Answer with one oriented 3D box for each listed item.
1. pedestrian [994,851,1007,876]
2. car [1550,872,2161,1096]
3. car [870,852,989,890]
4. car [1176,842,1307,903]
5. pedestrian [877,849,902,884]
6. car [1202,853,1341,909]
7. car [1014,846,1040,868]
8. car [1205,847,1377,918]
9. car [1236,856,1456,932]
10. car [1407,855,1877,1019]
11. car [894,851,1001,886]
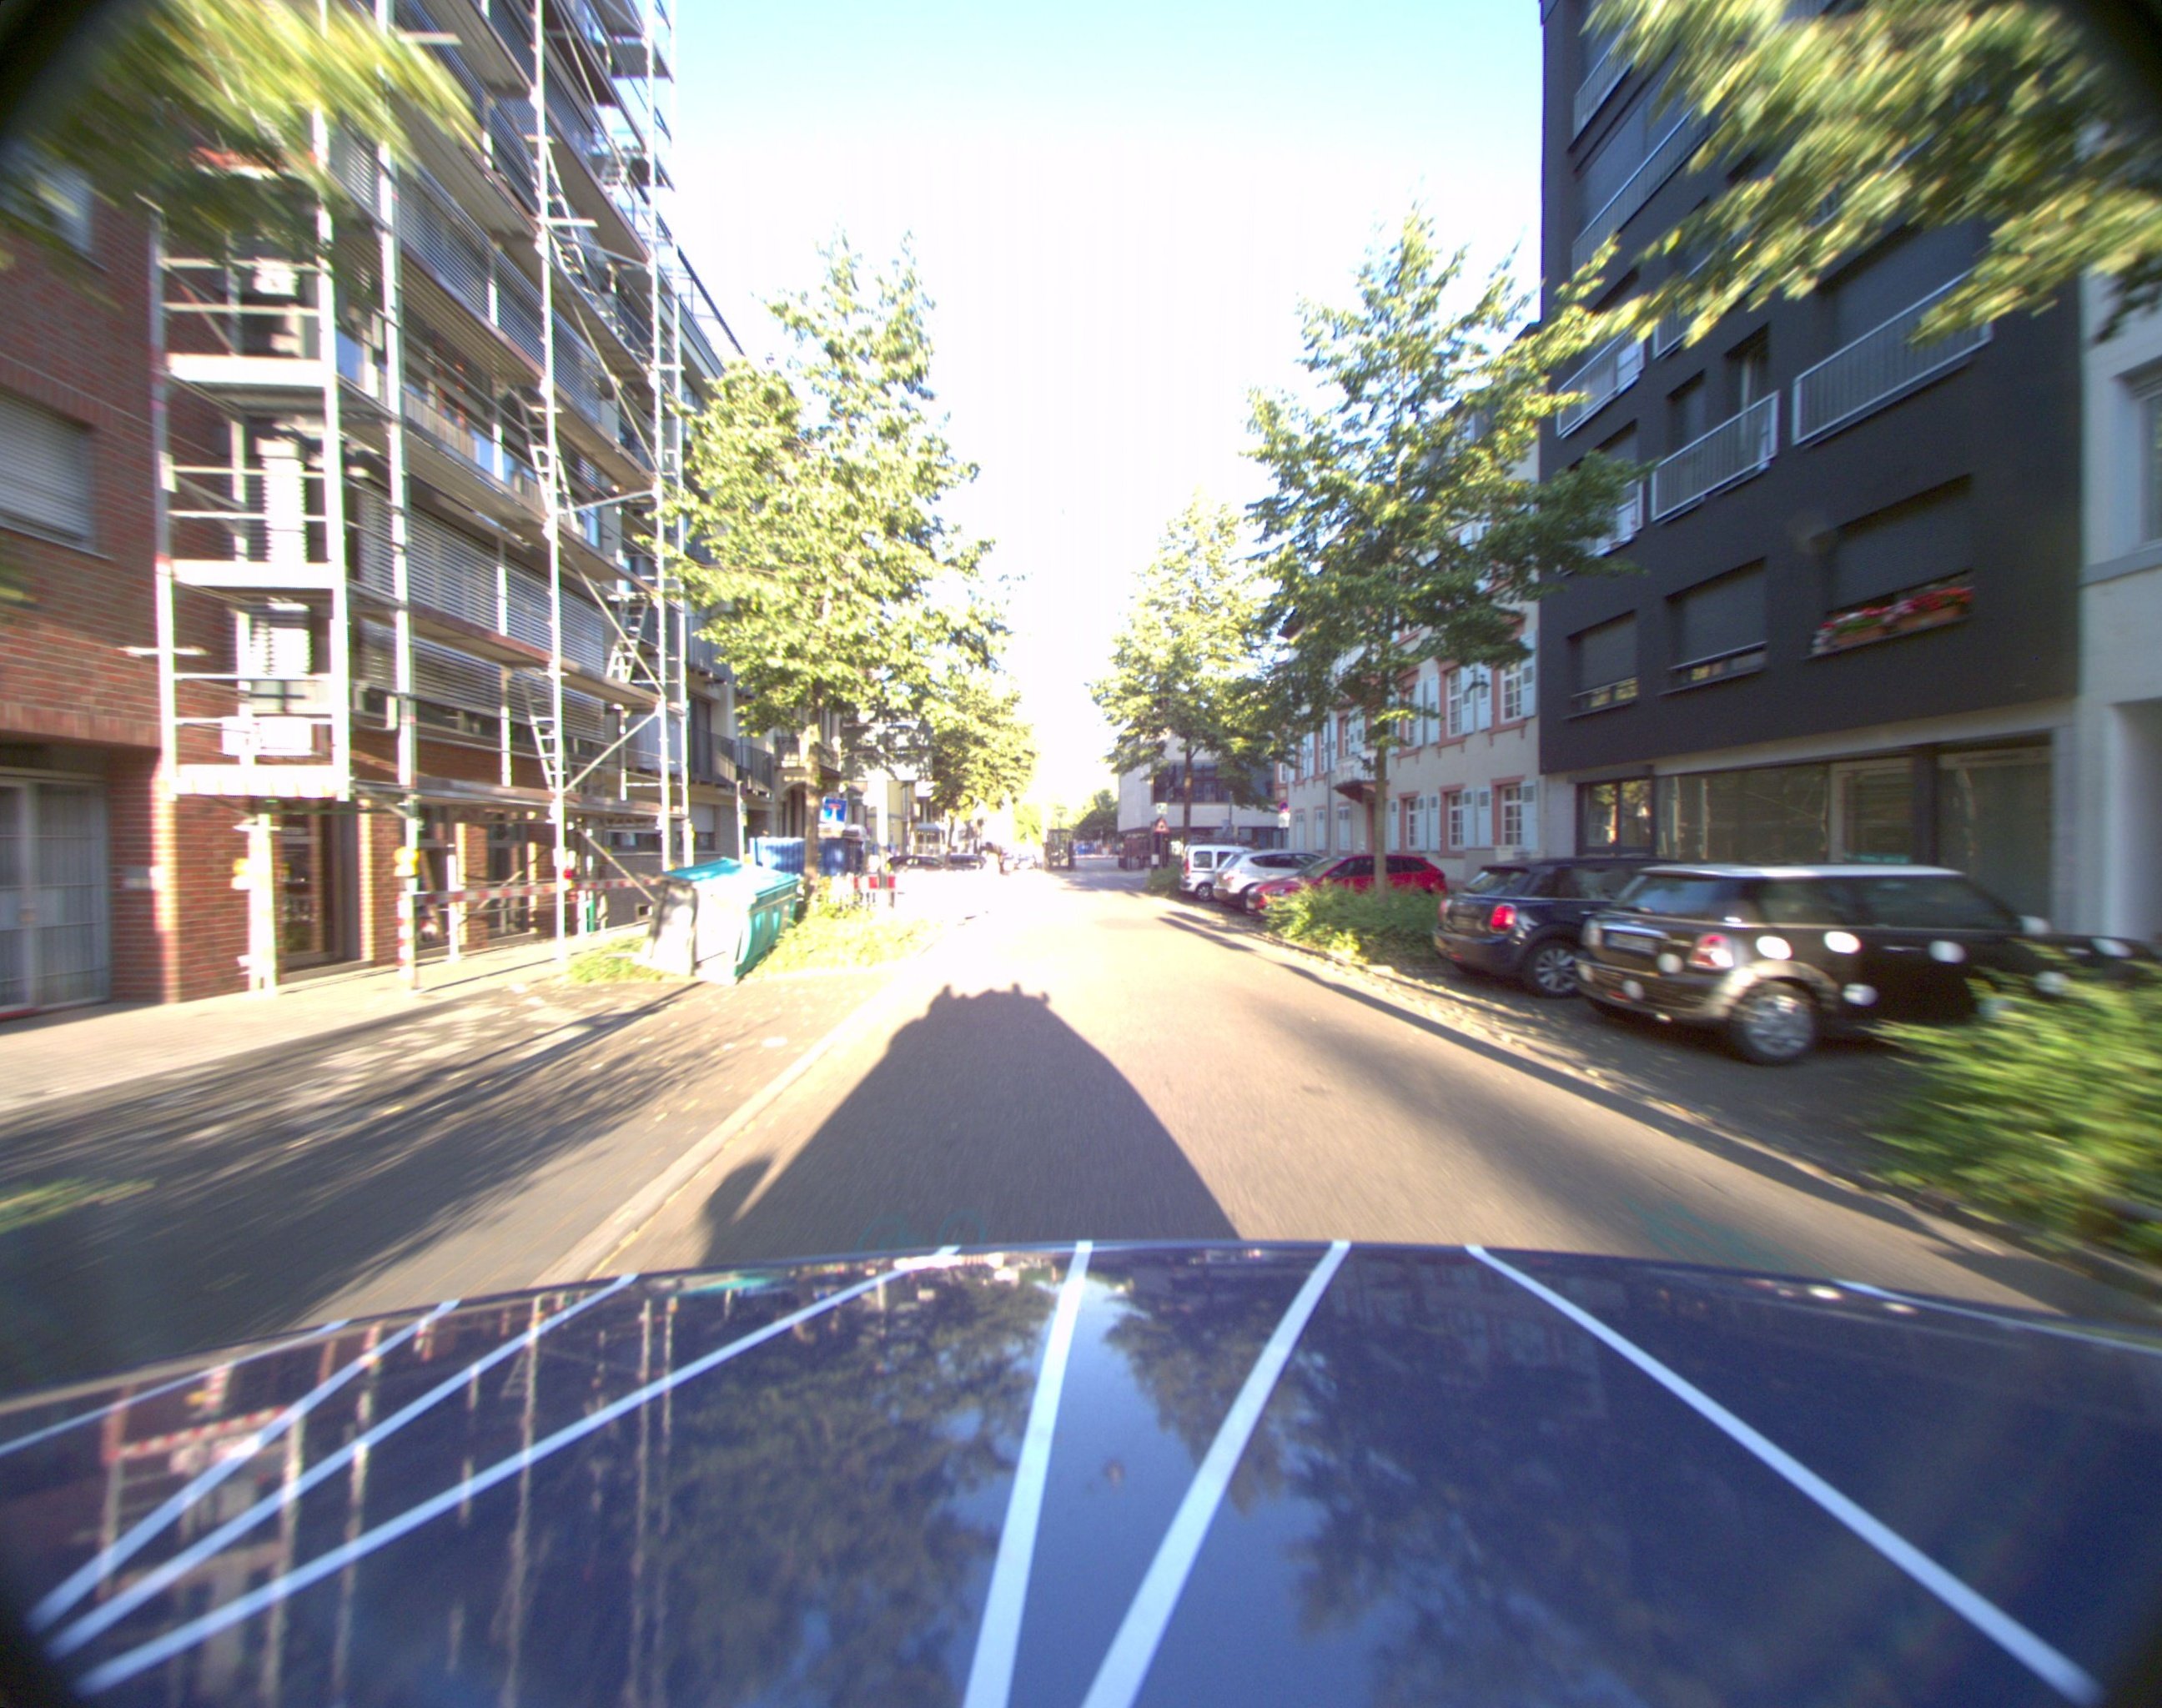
[{"bbox_3d":[-5.113,0.607,48.215,0.672,1.585,0.469,0,1,10],"label":"pedestrian"},{"bbox_3d":[5.914,0.900,5.975,3.405,1.384,1.686,-1,1,0],"label":"car"},{"bbox_3d":[-6.229,0.687,31.613,4.538,1.471,1.867,0,1,0],"label":"car"},{"bbox_3d":[5.036,0.559,24.210,3.820,1.839,1.700,-1,1,1],"label":"car"},{"bbox_3d":[-9.099,0.579,36.153,0.962,1.649,0.638,-2,2,-44],"label":"pedestrian"},{"bbox_3d":[5.450,0.760,22.026,3.658,1.506,1.649,0,1,3],"label":"car"},{"bbox_3d":[-4.259,0.209,60.292,1.709,1.575,3.678,-1,2,0],"label":"car"},{"bbox_3d":[5.210,0.687,19.175,3.835,1.576,1.741,-2,2,0],"label":"car"},{"bbox_3d":[5.729,0.823,16.702,4.220,1.508,1.761,-1,1,-6],"label":"car"},{"bbox_3d":[5.986,0.819,8.464,3.903,1.509,1.856,-1,1,-2],"label":"car"},{"bbox_3d":[-5.930,0.649,34.230,4.539,1.502,1.911,0,0,-3],"label":"car"}]
